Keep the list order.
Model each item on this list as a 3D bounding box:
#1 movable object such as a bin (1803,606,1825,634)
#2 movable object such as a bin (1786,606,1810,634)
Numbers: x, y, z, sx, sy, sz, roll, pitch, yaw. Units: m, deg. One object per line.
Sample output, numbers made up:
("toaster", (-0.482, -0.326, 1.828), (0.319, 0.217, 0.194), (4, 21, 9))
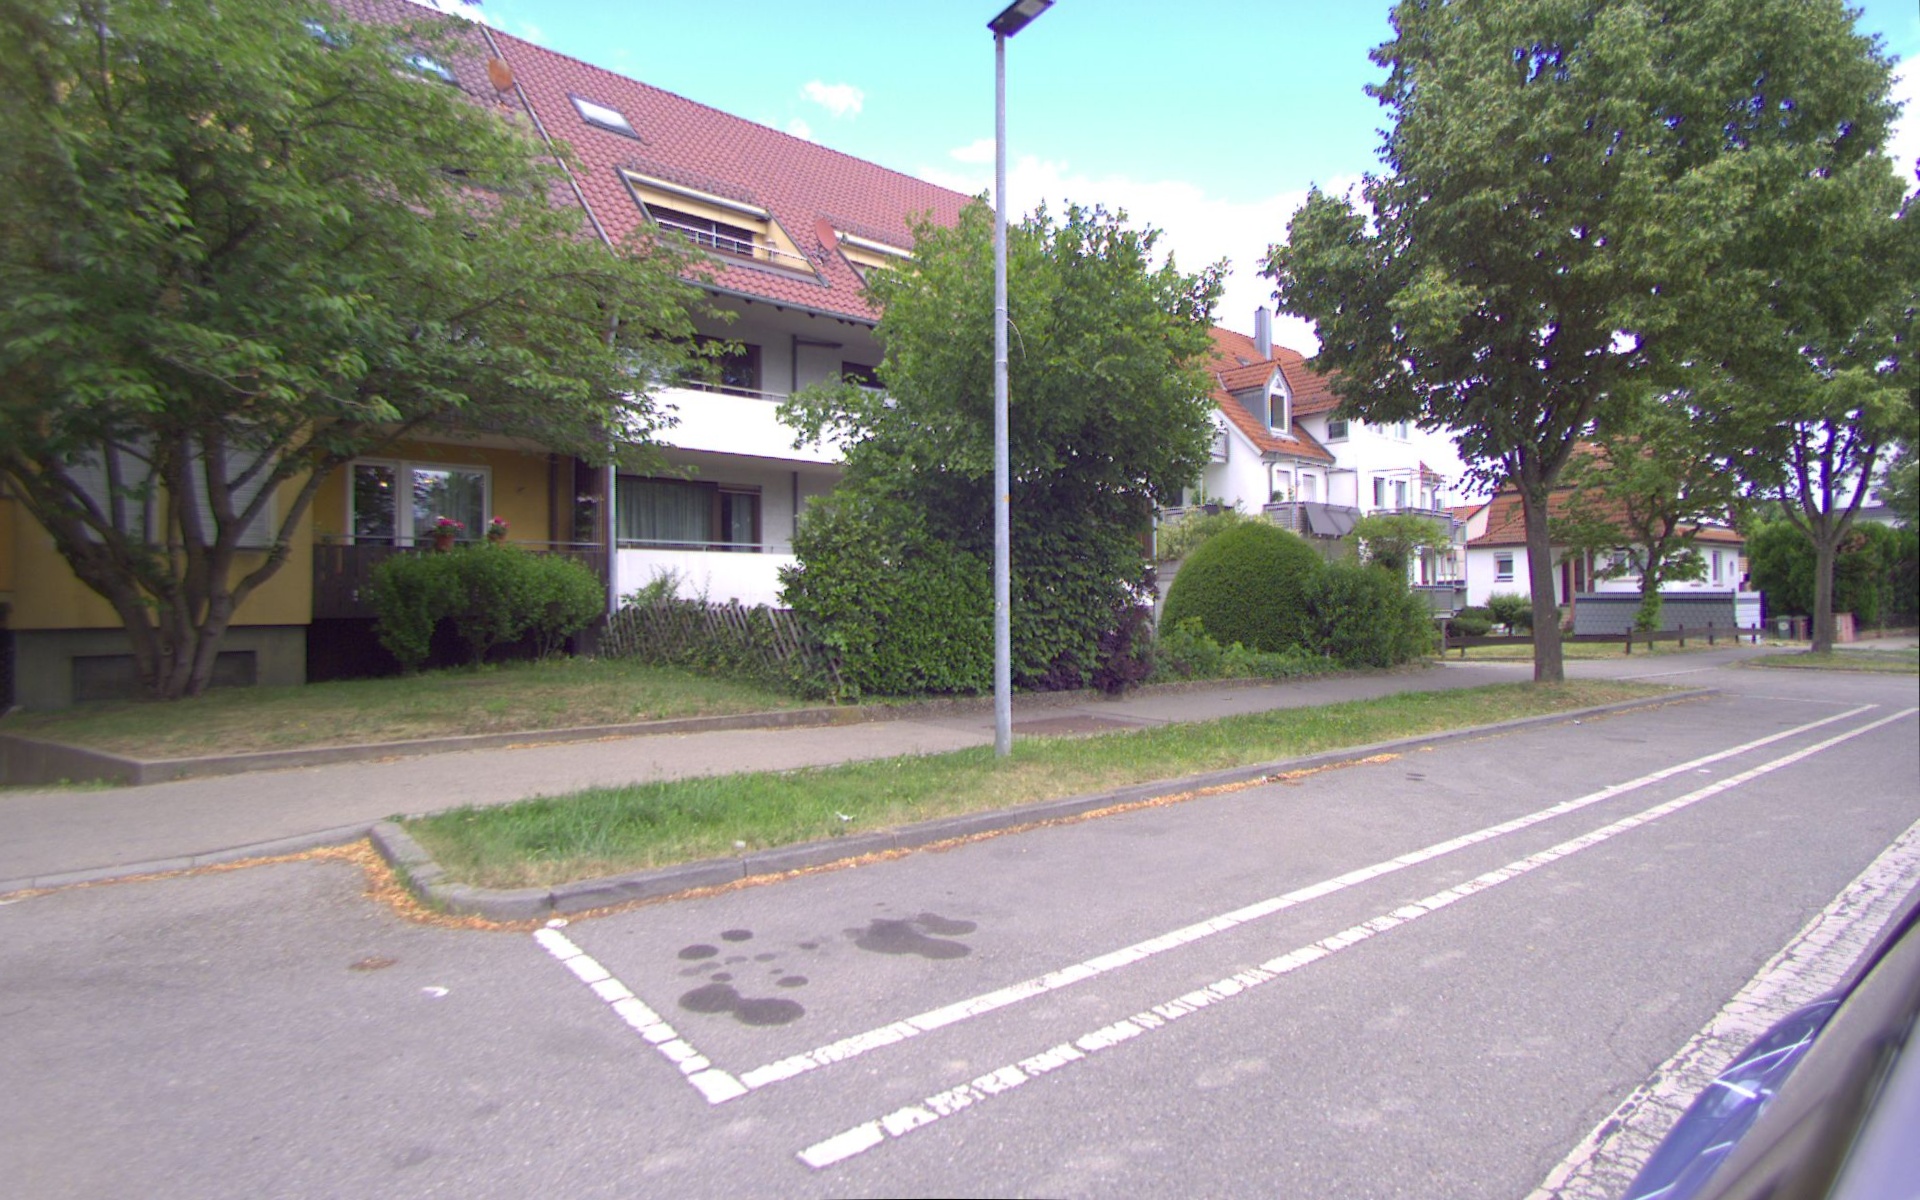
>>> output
("movable object such as a bin", (33.104, 0.780, 39.228), (0.508, 1.058, 0.501), (0, 0, -24))
("movable object such as a bin", (32.895, 0.781, 39.725), (0.508, 1.072, 0.542), (0, 0, -23))
